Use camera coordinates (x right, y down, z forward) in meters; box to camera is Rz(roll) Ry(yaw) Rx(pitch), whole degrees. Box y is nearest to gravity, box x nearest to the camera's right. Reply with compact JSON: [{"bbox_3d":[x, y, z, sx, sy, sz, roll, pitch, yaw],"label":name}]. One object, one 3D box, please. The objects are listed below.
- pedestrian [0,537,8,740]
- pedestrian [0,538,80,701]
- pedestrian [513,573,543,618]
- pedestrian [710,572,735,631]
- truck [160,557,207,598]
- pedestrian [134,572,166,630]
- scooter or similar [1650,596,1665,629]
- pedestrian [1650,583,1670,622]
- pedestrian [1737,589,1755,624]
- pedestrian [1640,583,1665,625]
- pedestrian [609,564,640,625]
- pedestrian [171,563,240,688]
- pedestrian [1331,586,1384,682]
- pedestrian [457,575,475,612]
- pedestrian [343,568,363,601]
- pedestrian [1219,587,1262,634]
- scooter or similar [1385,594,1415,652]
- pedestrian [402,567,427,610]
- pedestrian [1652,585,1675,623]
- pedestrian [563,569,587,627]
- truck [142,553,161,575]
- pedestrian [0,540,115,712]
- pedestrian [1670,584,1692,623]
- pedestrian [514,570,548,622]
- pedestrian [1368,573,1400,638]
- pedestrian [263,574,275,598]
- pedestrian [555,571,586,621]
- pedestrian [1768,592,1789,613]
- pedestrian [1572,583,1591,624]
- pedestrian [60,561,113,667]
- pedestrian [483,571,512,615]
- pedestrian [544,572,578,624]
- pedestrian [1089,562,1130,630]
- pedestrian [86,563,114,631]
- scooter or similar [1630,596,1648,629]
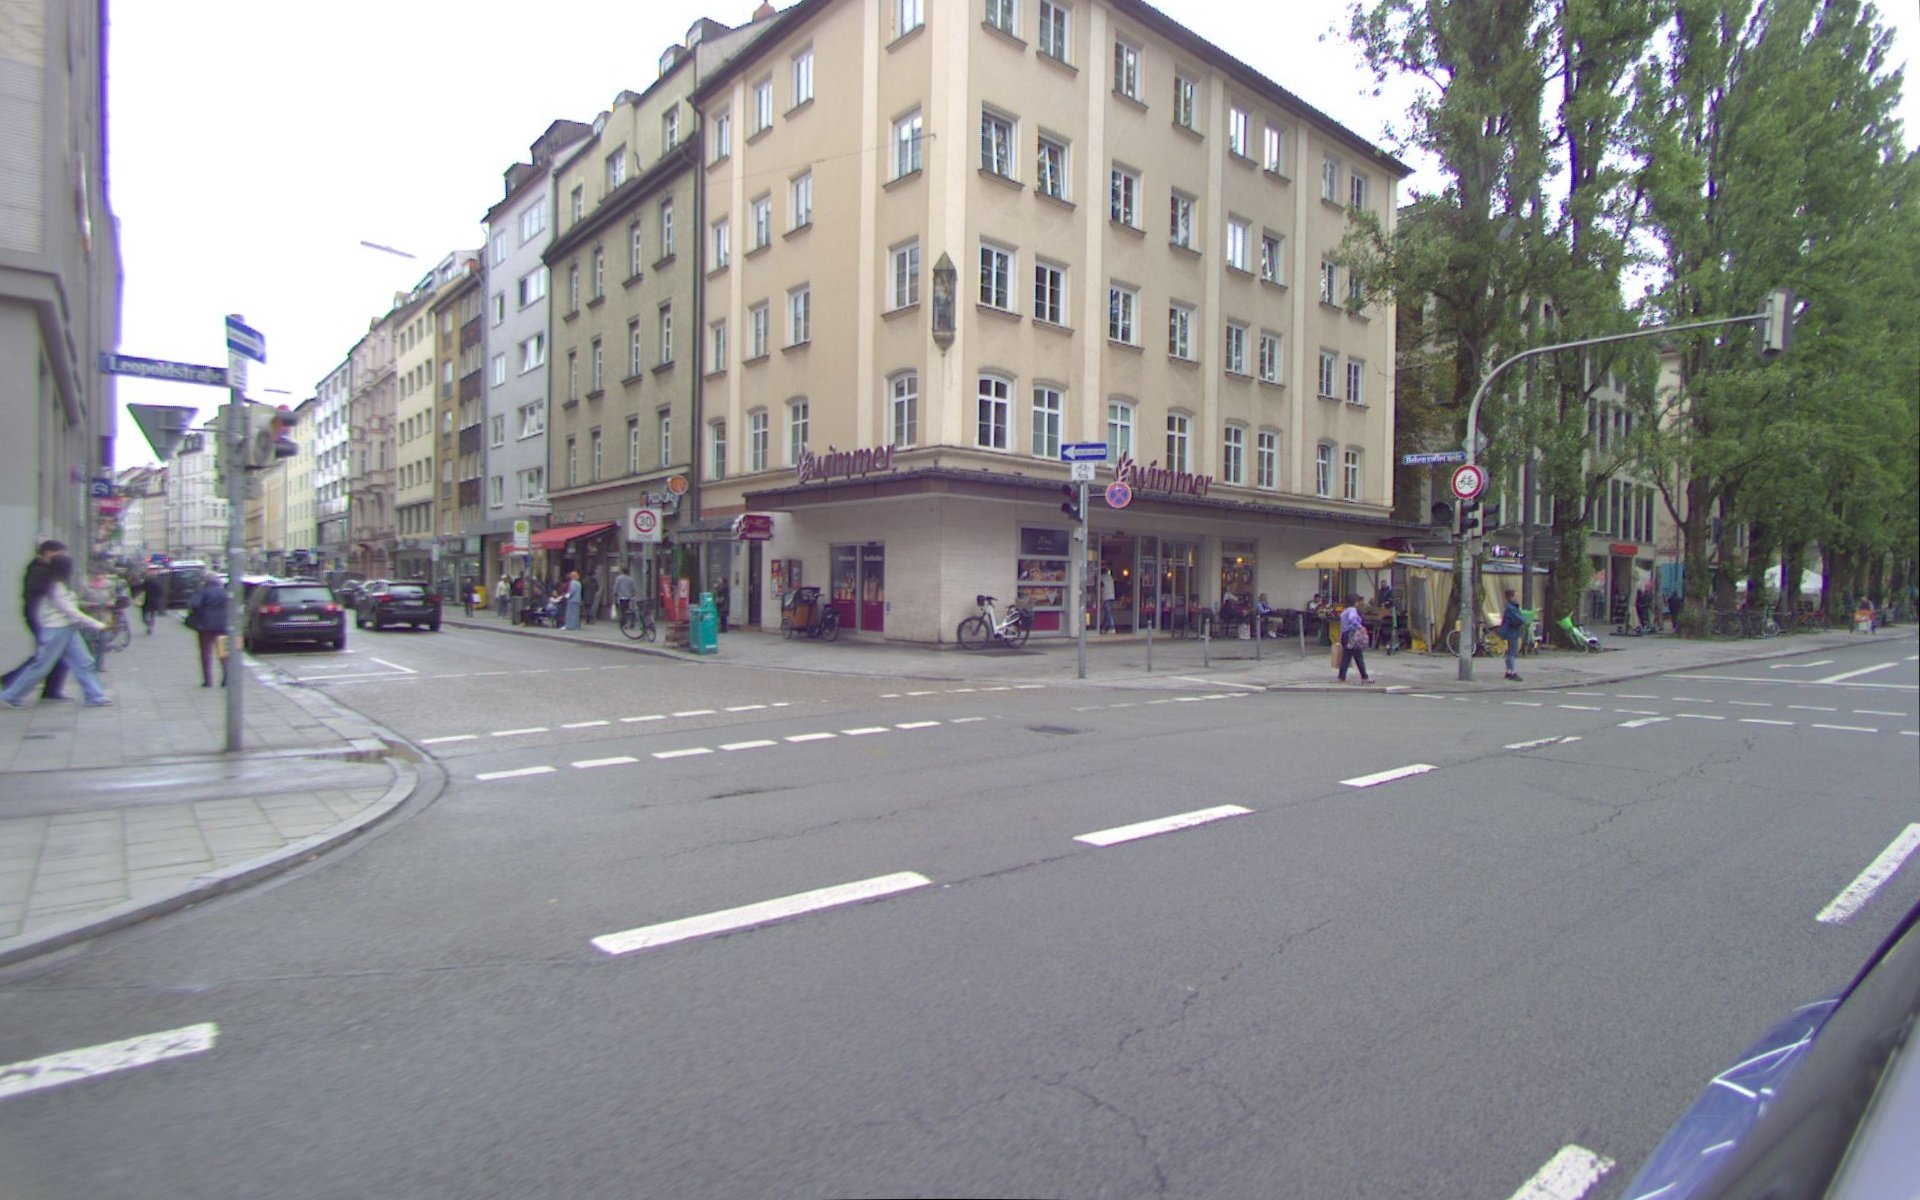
[{"bbox_3d":[-8.860,0.337,8.839,0.739,1.780,0.710,0,1,-39],"label":"pedestrian"},{"bbox_3d":[-10.473,0.207,11.481,0.698,1.780,0.752,0,0,-39],"label":"pedestrian"},{"bbox_3d":[-15.824,-0.174,37.102,0.804,1.629,0.867,0,0,-39],"label":"pedestrian"},{"bbox_3d":[-6.509,0.044,27.703,0.437,1.577,0.583,0,0,-39],"label":"pedestrian"},{"bbox_3d":[-39.850,-1.166,51.890,1.728,2.006,3.995,0,1,-40],"label":"truck"},{"bbox_3d":[-20.147,0.023,25.167,0.574,1.423,0.444,0,0,-44],"label":"pedestrian"},{"bbox_3d":[27.663,0.483,40.145,1.018,1.289,0.247,0,0,-41],"label":"scooter or similar"},{"bbox_3d":[32.676,0.113,47.246,0.662,1.807,0.566,0,0,-39],"label":"pedestrian"},{"bbox_3d":[40.816,0.331,52.540,0.684,1.764,0.566,1,0,-38],"label":"pedestrian"},{"bbox_3d":[30.823,0.173,45.060,0.889,1.874,0.658,0,1,-39],"label":"pedestrian"},{"bbox_3d":[-10.054,-0.179,30.313,0.663,1.790,1.003,0,0,-31],"label":"pedestrian"},{"bbox_3d":[-10.499,0.324,14.083,0.721,1.656,0.752,-2,3,-38],"label":"pedestrian"},{"bbox_3d":[6.612,0.552,16.878,0.608,1.536,0.769,0,2,3],"label":"pedestrian"},{"bbox_3d":[-19.358,-0.252,39.634,0.573,1.451,0.445,0,0,-32],"label":"pedestrian"},{"bbox_3d":[-33.948,-0.858,56.578,0.818,1.826,0.867,0,0,-39],"label":"pedestrian"},{"bbox_3d":[7.803,0.277,28.164,0.687,1.213,0.871,0,5,-40],"label":"pedestrian"},{"bbox_3d":[9.926,0.498,22.821,0.405,1.259,1.355,1,0,33],"label":"scooter or similar"},{"bbox_3d":[-23.720,-0.494,44.009,0.818,1.826,0.867,0,0,-39],"label":"pedestrian"},{"bbox_3d":[34.951,0.179,50.264,0.806,1.877,0.753,1,0,-39],"label":"pedestrian"},{"bbox_3d":[-11.201,-0.073,29.435,0.573,1.665,0.445,0,0,-32],"label":"pedestrian"},{"bbox_3d":[-116.566,-5.162,145.907,1.961,3.038,5.478,0,1,-41],"label":"truck"},{"bbox_3d":[-9.878,0.264,11.032,0.999,1.780,0.752,1,1,-39],"label":"pedestrian"},{"bbox_3d":[33.327,0.151,46.761,0.662,1.807,0.658,0,0,-39],"label":"pedestrian"},{"bbox_3d":[-13.842,-0.131,32.646,0.804,1.629,0.867,0,0,-39],"label":"pedestrian"},{"bbox_3d":[11.238,0.144,26.834,0.526,1.694,0.542,0,1,-34],"label":"pedestrian"},{"bbox_3d":[-44.662,-0.900,65.425,0.572,1.571,0.670,0,1,-40],"label":"pedestrian"},{"bbox_3d":[-13.603,-0.151,35.331,0.804,1.717,0.867,0,0,-39],"label":"pedestrian"},{"bbox_3d":[49.043,0.127,60.658,1.004,1.232,0.775,0,0,-37],"label":"pedestrian"},{"bbox_3d":[27.465,0.140,44.743,0.630,1.790,0.547,1,0,-41],"label":"pedestrian"},{"bbox_3d":[-13.136,0.199,15.212,0.574,1.550,0.444,0,0,-44],"label":"pedestrian"},{"bbox_3d":[-17.249,-0.260,37.749,0.804,1.629,0.867,0,0,-39],"label":"pedestrian"},{"bbox_3d":[-12.818,-0.072,32.502,0.804,1.629,0.867,0,0,-39],"label":"pedestrian"},{"bbox_3d":[3.904,-0.125,26.426,0.845,1.723,0.666,-2,2,-39],"label":"pedestrian"},{"bbox_3d":[-19.748,-0.075,23.235,0.437,1.539,0.583,0,0,-44],"label":"pedestrian"},{"bbox_3d":[27.152,0.496,40.463,1.018,1.289,0.331,0,1,-41],"label":"scooter or similar"}]
